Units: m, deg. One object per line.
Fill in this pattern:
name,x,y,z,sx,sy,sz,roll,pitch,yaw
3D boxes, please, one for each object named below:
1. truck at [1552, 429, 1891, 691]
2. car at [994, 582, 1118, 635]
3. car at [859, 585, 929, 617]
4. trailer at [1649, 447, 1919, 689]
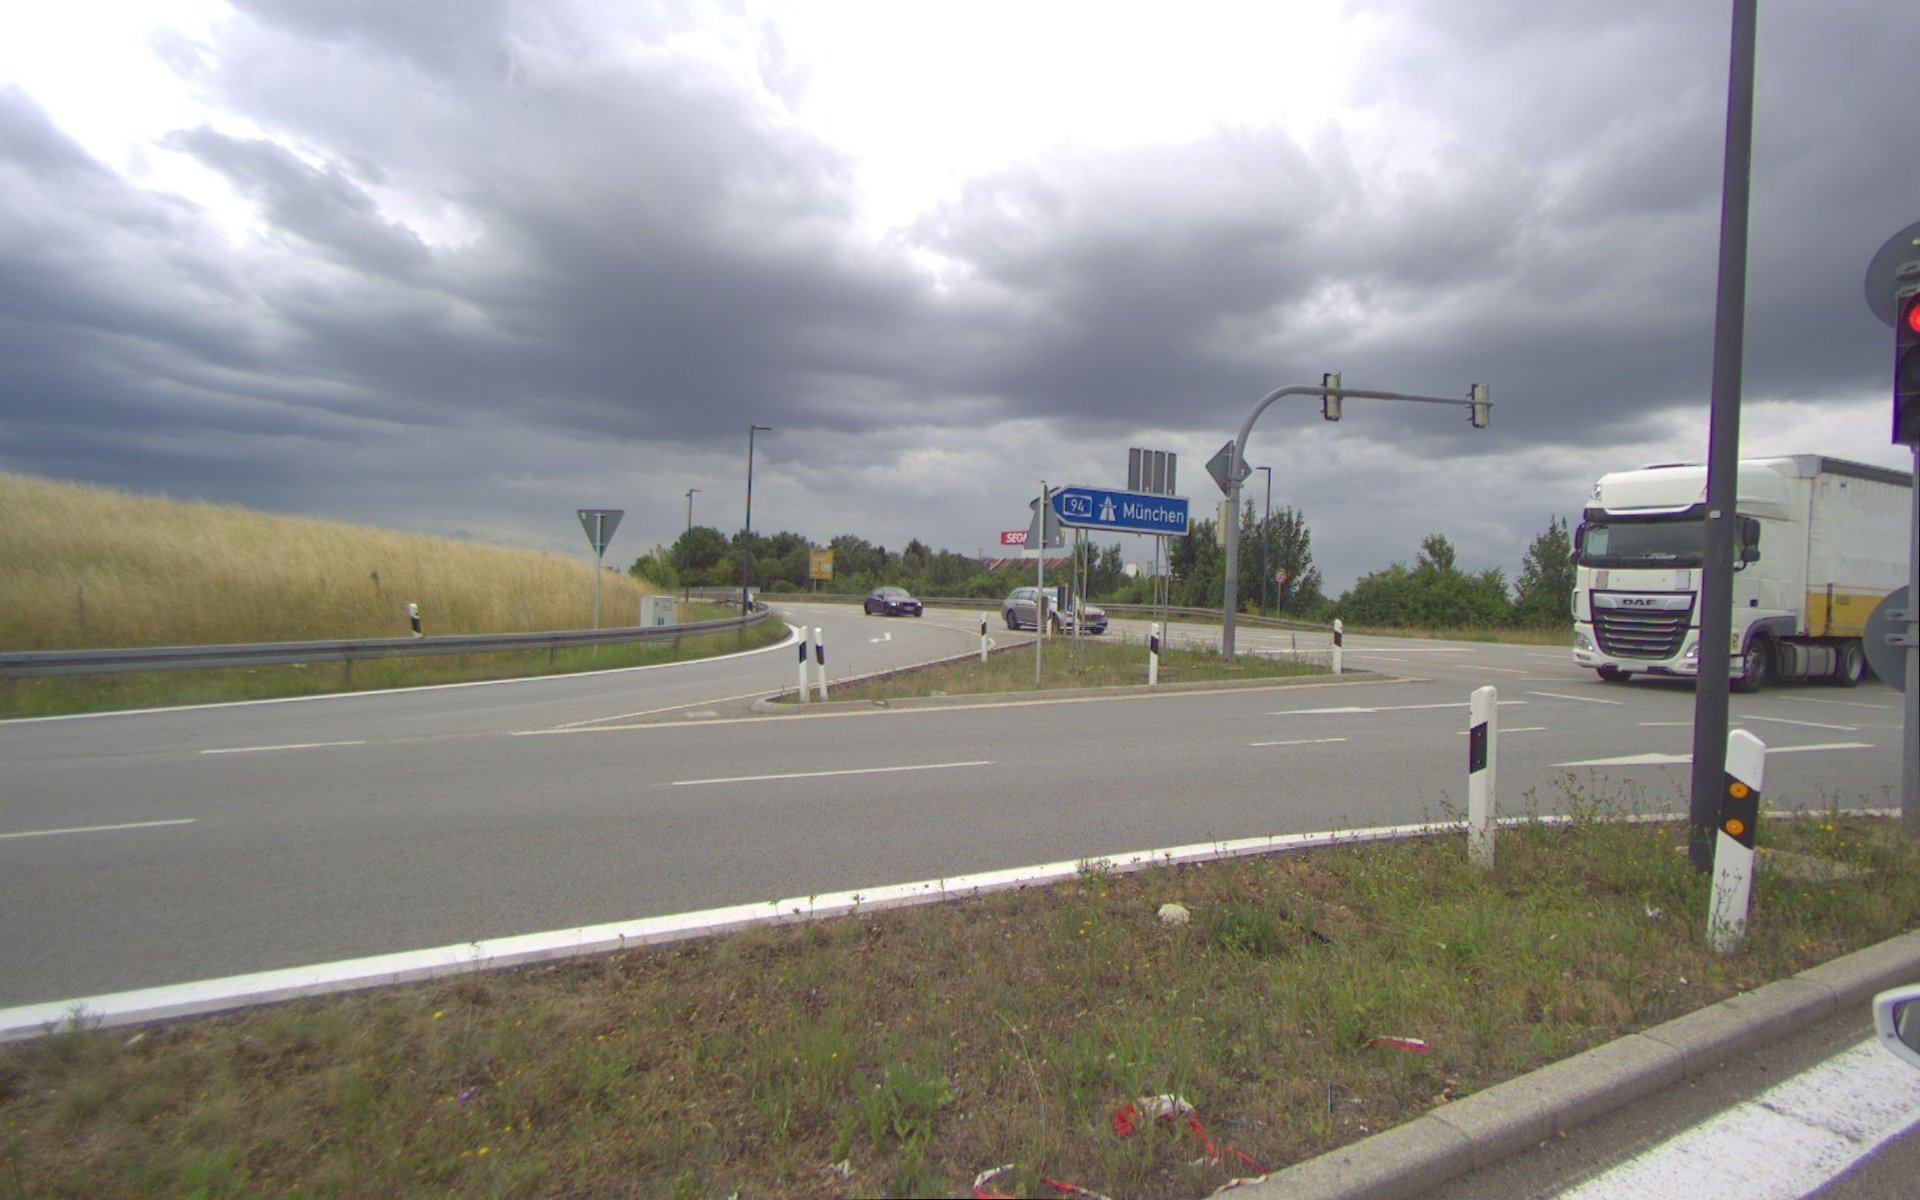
truck,14.289,-0.562,18.770,6.325,4.196,2.638,2,0,-29
car,3.142,0.238,34.020,1.896,1.632,4.916,2,0,-26
car,-3.228,0.046,48.290,1.690,1.429,4.643,2,0,-26
trailer,20.392,-0.379,22.223,13.674,4.266,2.680,2,0,-29
